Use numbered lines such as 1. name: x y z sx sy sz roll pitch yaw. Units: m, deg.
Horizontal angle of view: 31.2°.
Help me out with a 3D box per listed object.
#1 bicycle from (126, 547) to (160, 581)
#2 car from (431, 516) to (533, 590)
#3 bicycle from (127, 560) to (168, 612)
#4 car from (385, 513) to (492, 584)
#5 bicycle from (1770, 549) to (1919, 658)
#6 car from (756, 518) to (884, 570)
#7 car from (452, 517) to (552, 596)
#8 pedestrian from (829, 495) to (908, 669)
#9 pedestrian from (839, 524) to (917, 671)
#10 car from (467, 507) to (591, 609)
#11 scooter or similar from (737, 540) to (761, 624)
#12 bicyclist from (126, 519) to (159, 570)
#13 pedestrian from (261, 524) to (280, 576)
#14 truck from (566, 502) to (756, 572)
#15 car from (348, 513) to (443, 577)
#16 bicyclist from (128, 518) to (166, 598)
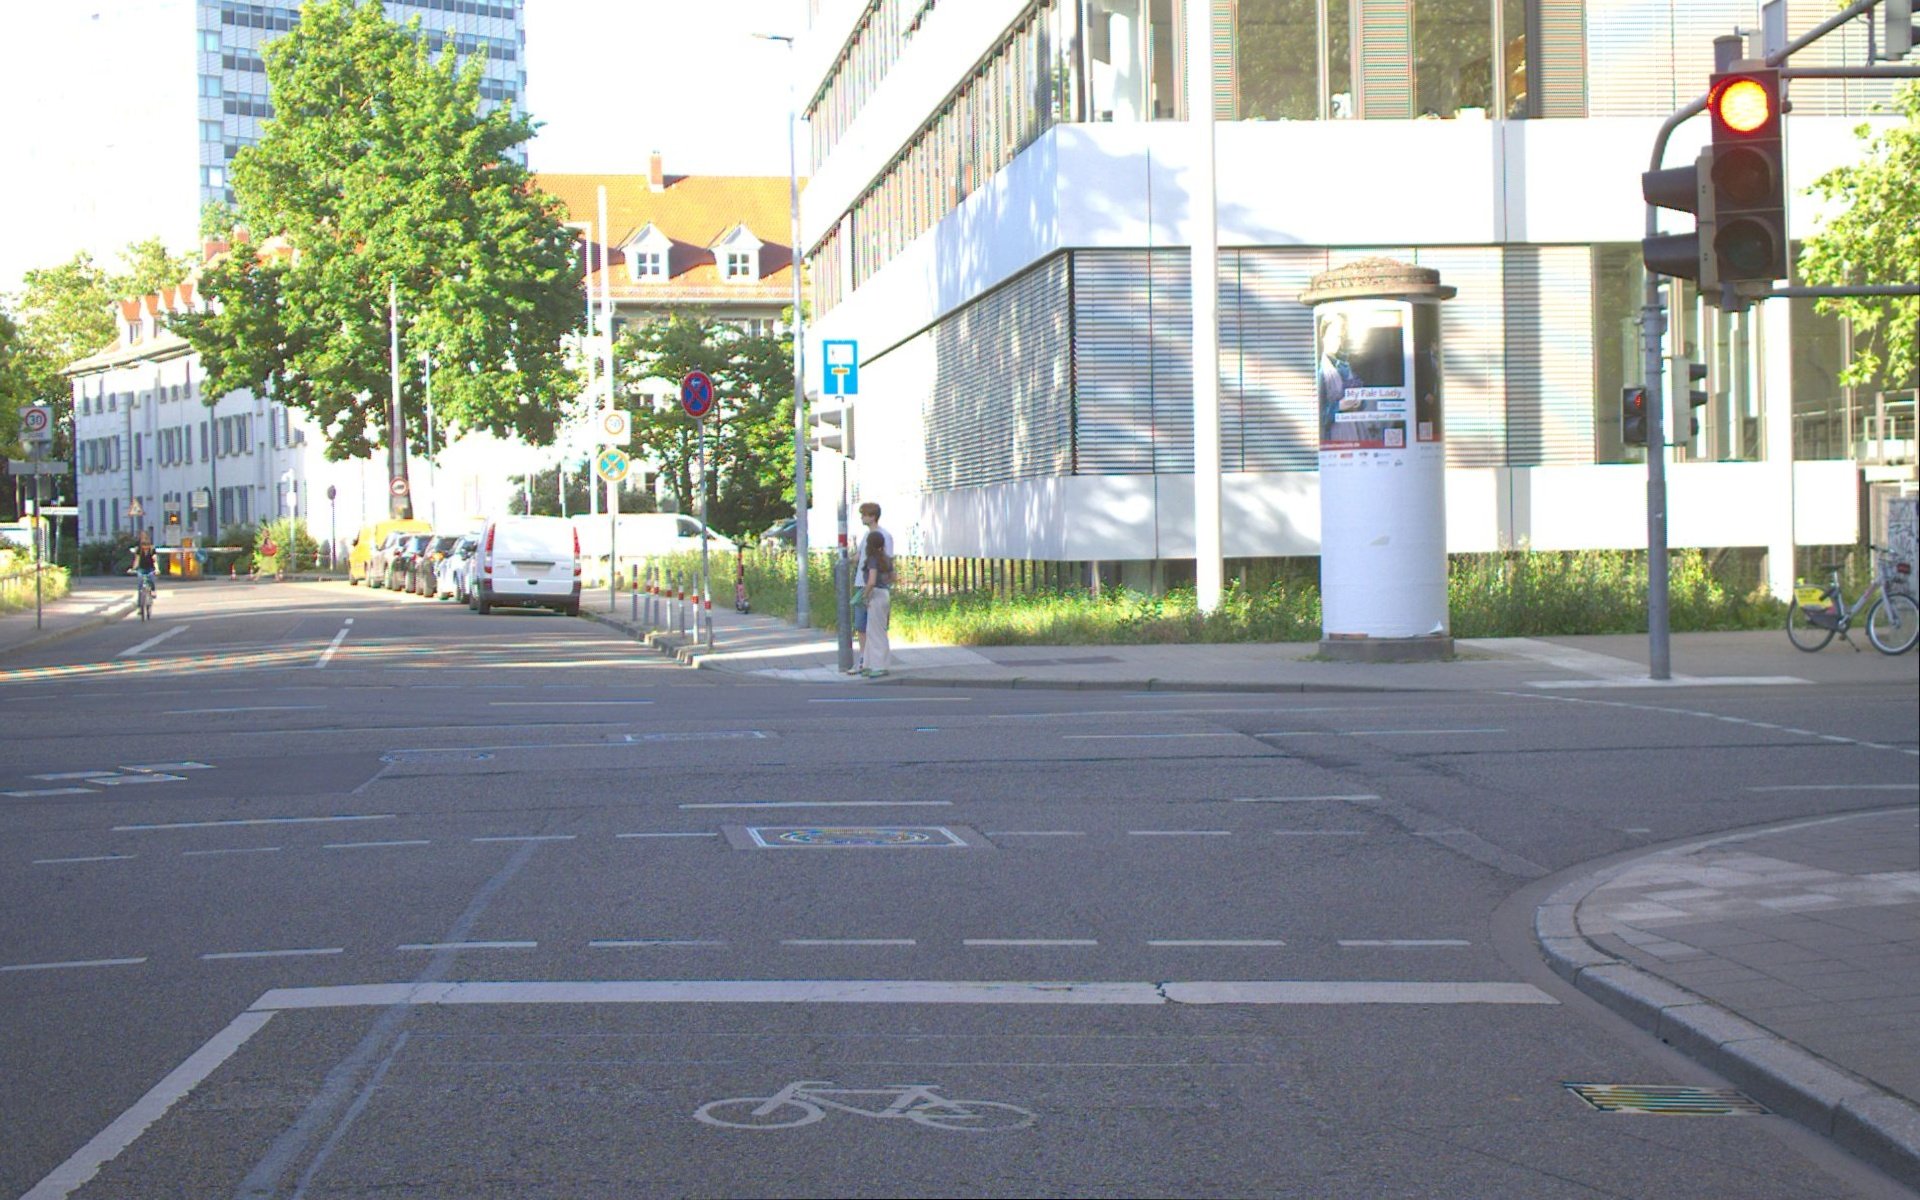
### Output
1. bicycle: -25.347 -1.115 106.684 0.865 1.006 2.415 -4 1 -11
2. car: -10.921 -1.096 78.325 1.888 1.550 4.417 -1 2 -13
3. bicycle: -15.871 -0.288 67.155 0.615 0.966 1.842 -2 1 -9
4. car: -13.004 -1.312 85.572 1.888 1.650 4.417 -1 2 -19
5. bicycle: 9.310 0.025 36.049 0.507 1.045 1.687 -4 5 -35
6. car: -4.252 -1.707 104.250 3.554 1.541 1.559 -1 1 -19
7. car: -9.747 -0.952 72.954 1.888 1.550 4.417 -1 2 -10
8. pedestrian: -1.005 -0.204 37.818 0.560 1.844 0.677 -3 2 16
9. pedestrian: -0.889 -0.033 37.215 0.559 1.535 0.677 -5 2 -18
10. car: -8.150 -0.828 64.755 2.084 1.789 4.417 -1 2 -10
11. scooter or similar: -3.592 -0.313 58.582 0.330 1.419 1.335 1 0 -6
12. bicyclist: -25.377 -1.719 106.688 0.865 1.510 1.019 -4 1 -11
13. pedestrian: -21.571 -1.572 107.559 0.433 1.602 0.493 -2 1 -26
14. truck: -8.967 -1.891 103.062 5.336 2.007 2.001 -1 1 -19
15. car: -15.700 -1.552 95.507 1.888 1.650 4.417 -1 2 -19
16. bicyclist: -15.883 -0.822 67.158 0.615 1.527 0.903 -2 1 -9
